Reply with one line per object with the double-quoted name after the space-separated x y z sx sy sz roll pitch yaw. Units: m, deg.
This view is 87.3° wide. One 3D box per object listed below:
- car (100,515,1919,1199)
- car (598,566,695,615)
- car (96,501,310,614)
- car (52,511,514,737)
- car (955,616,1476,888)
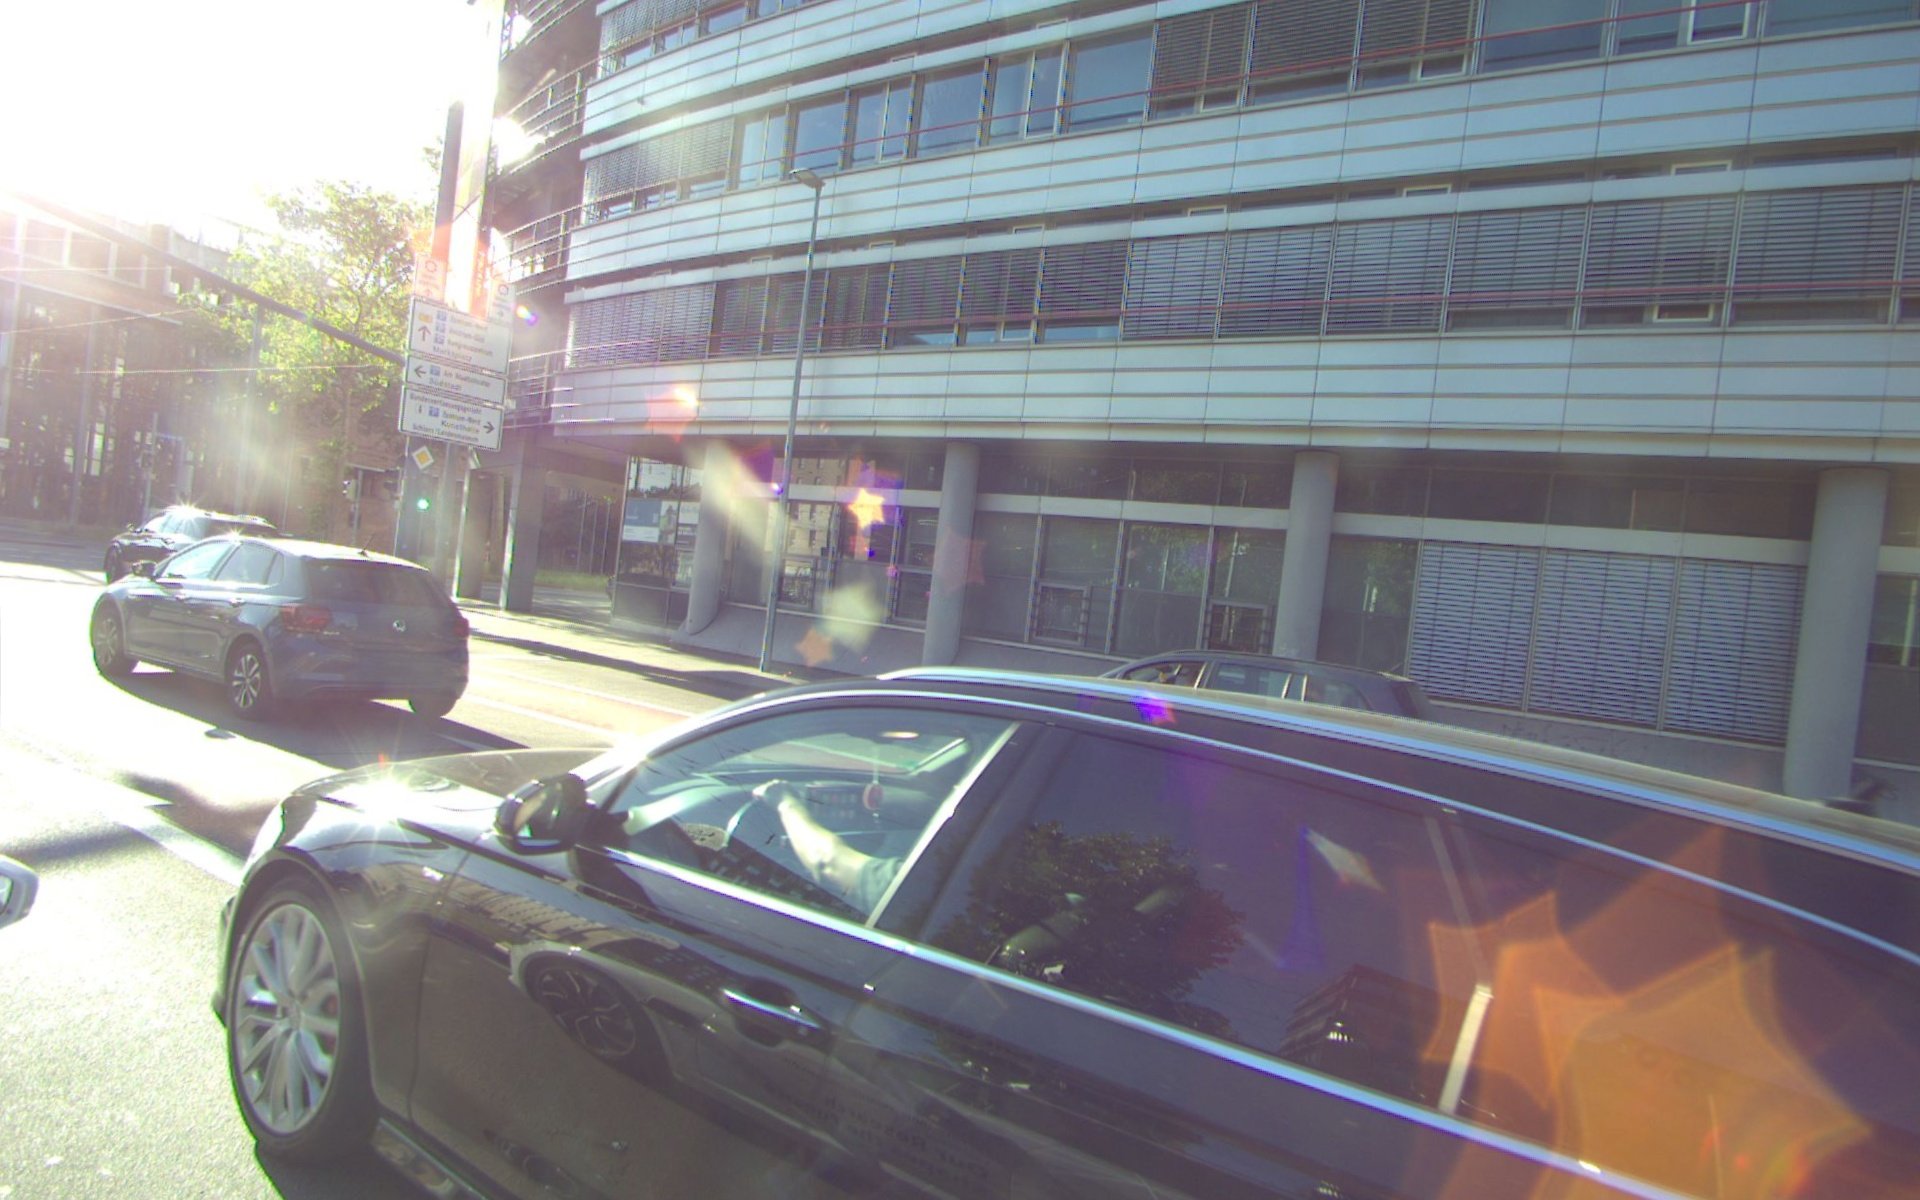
0.013 0.776 2.325 4.423 1.511 1.812 6 1 33 "car"
-14.059 -0.377 45.281 1.831 1.670 4.001 7 -2 24 "car"
-15.519 -0.888 20.592 4.257 1.771 1.996 7 0 32 "car"
-6.311 0.178 9.336 3.930 1.474 1.812 7 -1 28 "car"
2.320 1.253 9.643 4.390 1.649 1.689 7 0 33 "car"
